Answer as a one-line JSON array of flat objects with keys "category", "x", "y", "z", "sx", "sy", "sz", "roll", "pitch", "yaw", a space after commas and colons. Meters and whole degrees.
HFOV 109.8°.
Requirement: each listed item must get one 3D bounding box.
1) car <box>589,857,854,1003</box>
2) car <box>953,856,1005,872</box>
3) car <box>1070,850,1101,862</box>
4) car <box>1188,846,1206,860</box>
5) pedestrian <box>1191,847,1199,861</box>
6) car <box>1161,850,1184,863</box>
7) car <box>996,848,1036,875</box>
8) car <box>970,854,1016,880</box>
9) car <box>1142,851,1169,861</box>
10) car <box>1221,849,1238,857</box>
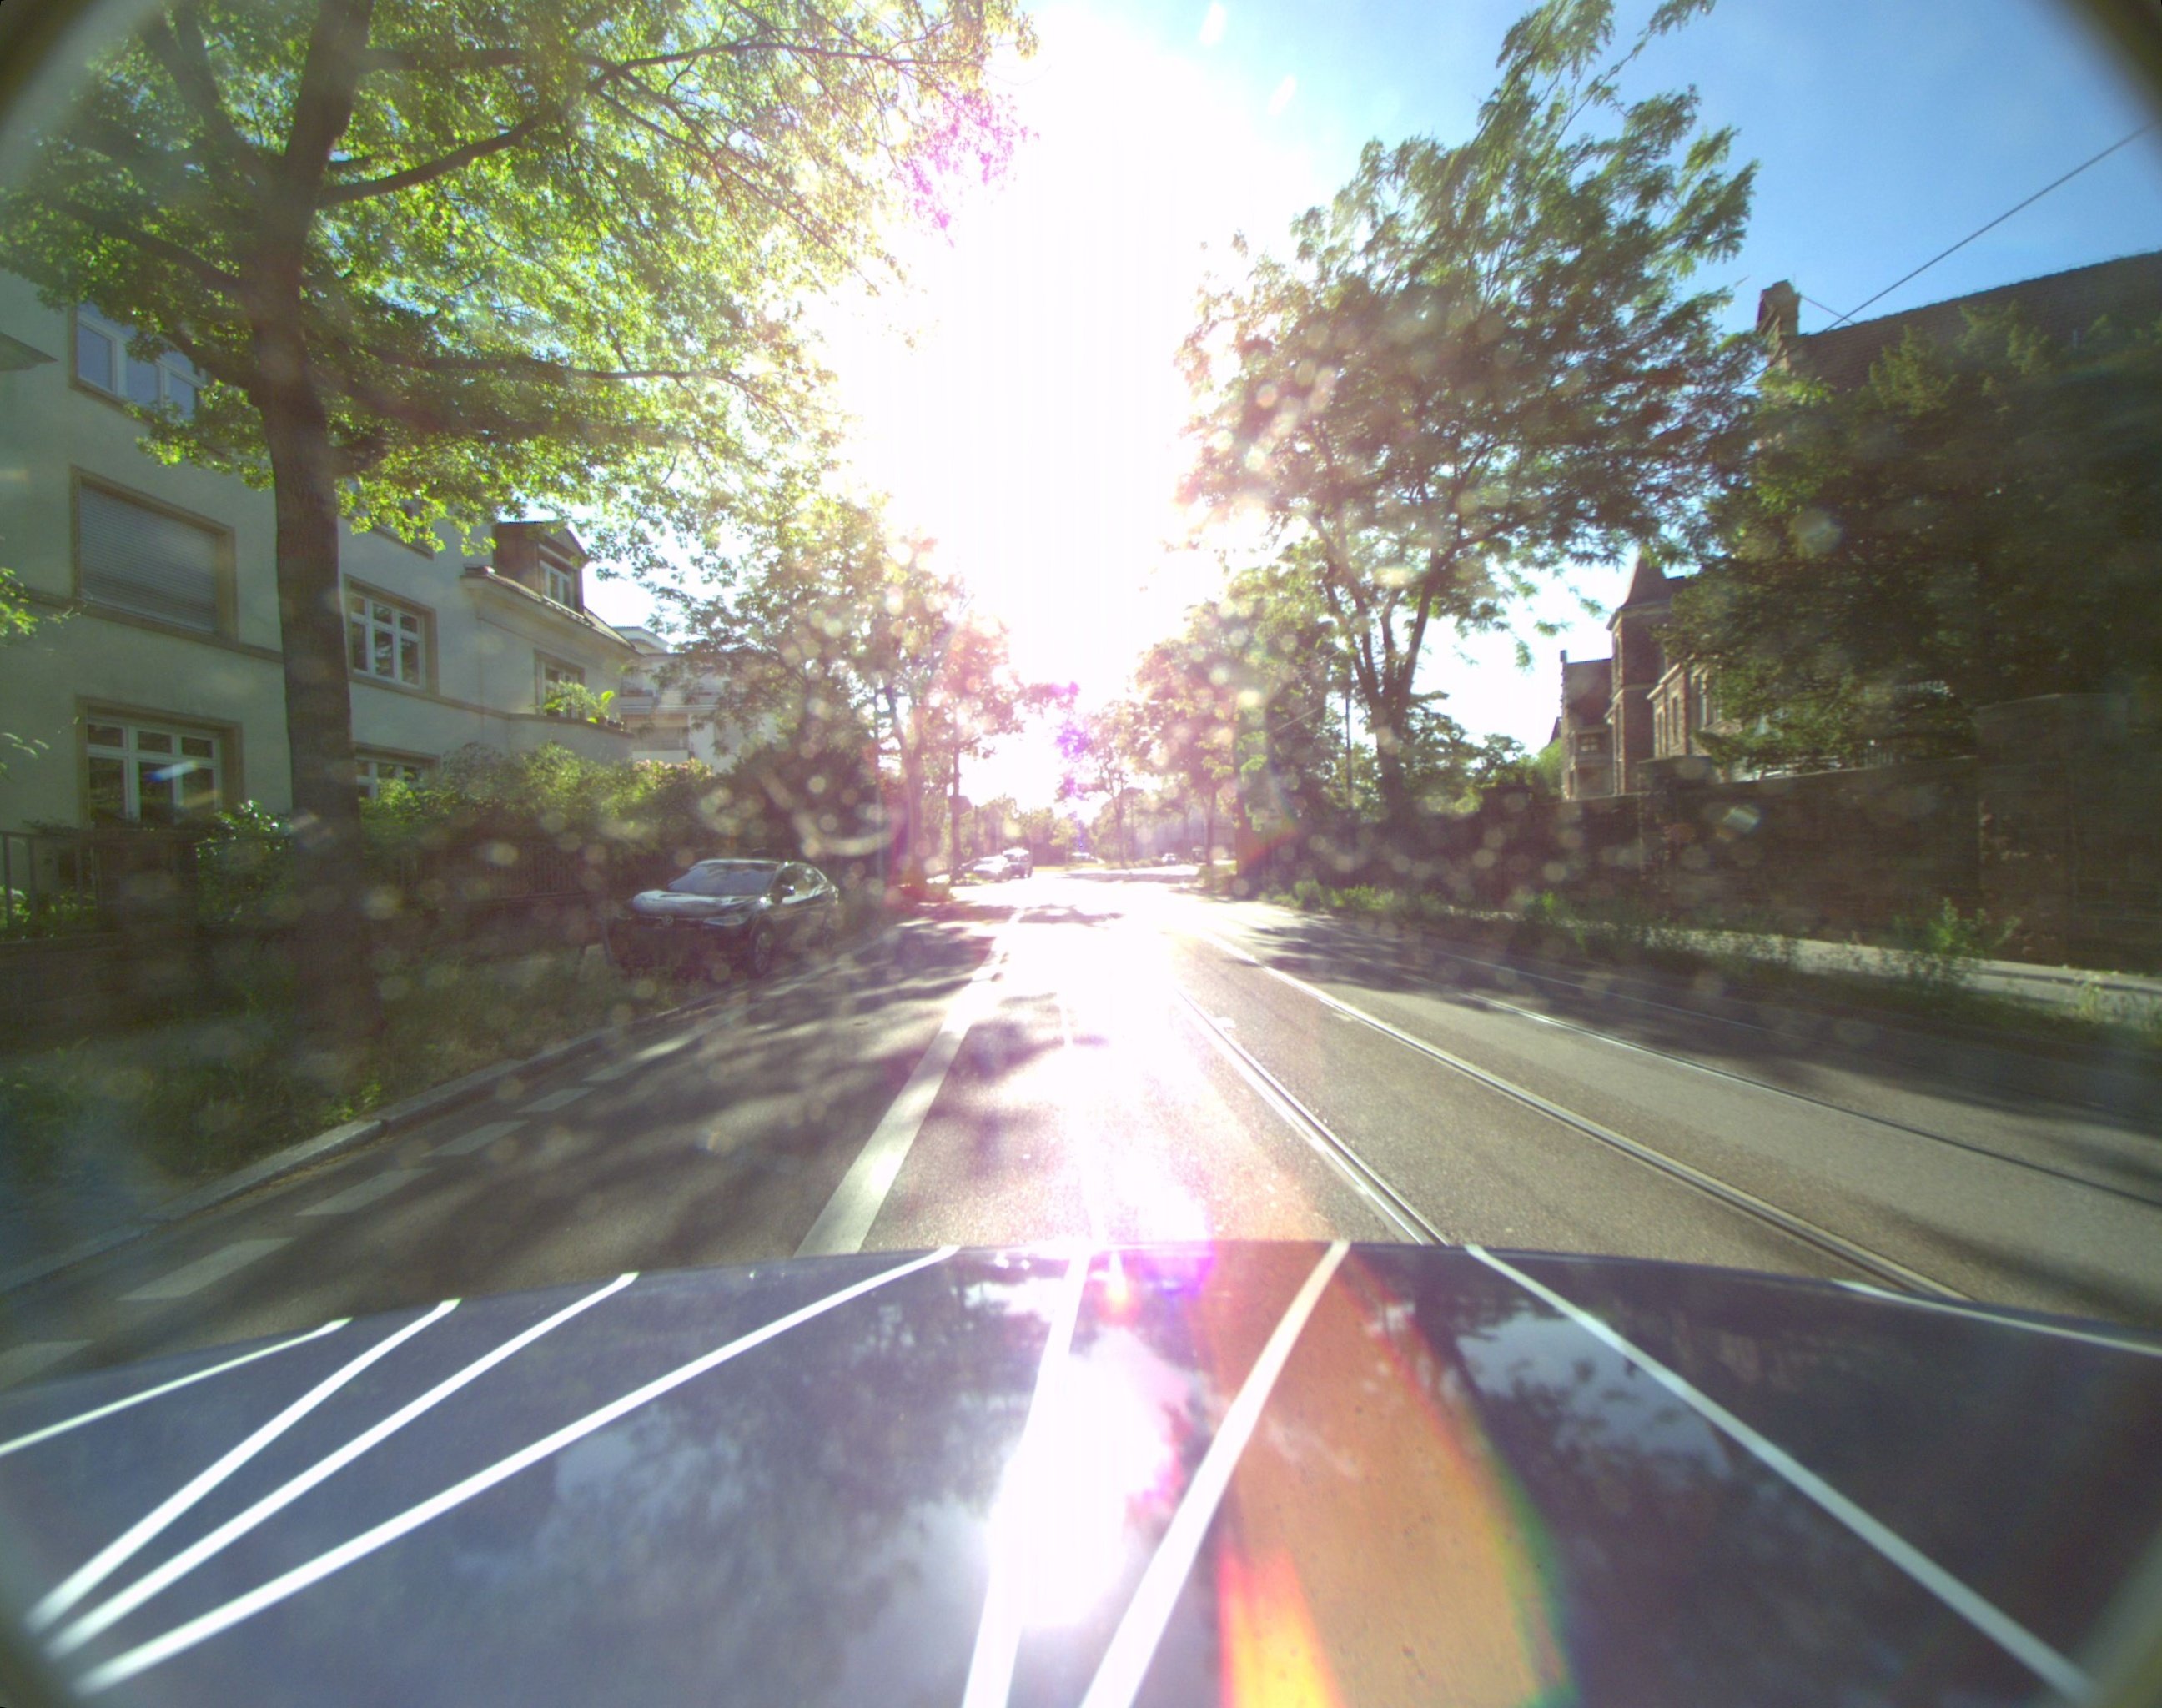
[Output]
[{"category": "car", "x": -5.128, "y": 0.948, "z": 11.721, "sx": 1.809, "sy": 1.684, "sz": 4.728, "roll": 2, "pitch": 0, "yaw": 0}, {"category": "car", "x": -9.322, "y": 0.879, "z": 69.713, "sx": 4.521, "sy": 1.361, "sz": 1.969, "roll": -1, "pitch": 1, "yaw": 1}, {"category": "car", "x": 0.789, "y": 0.295, "z": 129.076, "sx": 5.209, "sy": 1.874, "sz": 2.100, "roll": -2, "pitch": 0, "yaw": 1}, {"category": "car", "x": 17.424, "y": -0.176, "z": 114.310, "sx": 1.996, "sy": 2.083, "sz": 4.722, "roll": -1, "pitch": 0, "yaw": 17}, {"category": "pedestrian", "x": 15.161, "y": 0.045, "z": 101.021, "sx": 0.878, "sy": 1.854, "sz": 1.021, "roll": -1, "pitch": 1, "yaw": 12}, {"category": "car", "x": 12.030, "y": 0.328, "z": 99.326, "sx": 2.002, "sy": 1.457, "sz": 5.439, "roll": 3, "pitch": 2, "yaw": 18}, {"category": "car", "x": -4.354, "y": 0.498, "z": 51.614, "sx": 2.027, "sy": 1.736, "sz": 4.753, "roll": -1, "pitch": 0, "yaw": 4}, {"category": "car", "x": -5.211, "y": 0.755, "z": 45.669, "sx": 1.998, "sy": 1.415, "sz": 4.332, "roll": -1, "pitch": 1, "yaw": 3}, {"category": "car", "x": 12.680, "y": 0.290, "z": 129.015, "sx": 4.459, "sy": 1.482, "sz": 2.008, "roll": -1, "pitch": 4, "yaw": 1}, {"category": "car", "x": 28.438, "y": -0.165, "z": 145.468, "sx": 1.739, "sy": 1.487, "sz": 4.538, "roll": -1, "pitch": 1, "yaw": 28}]
